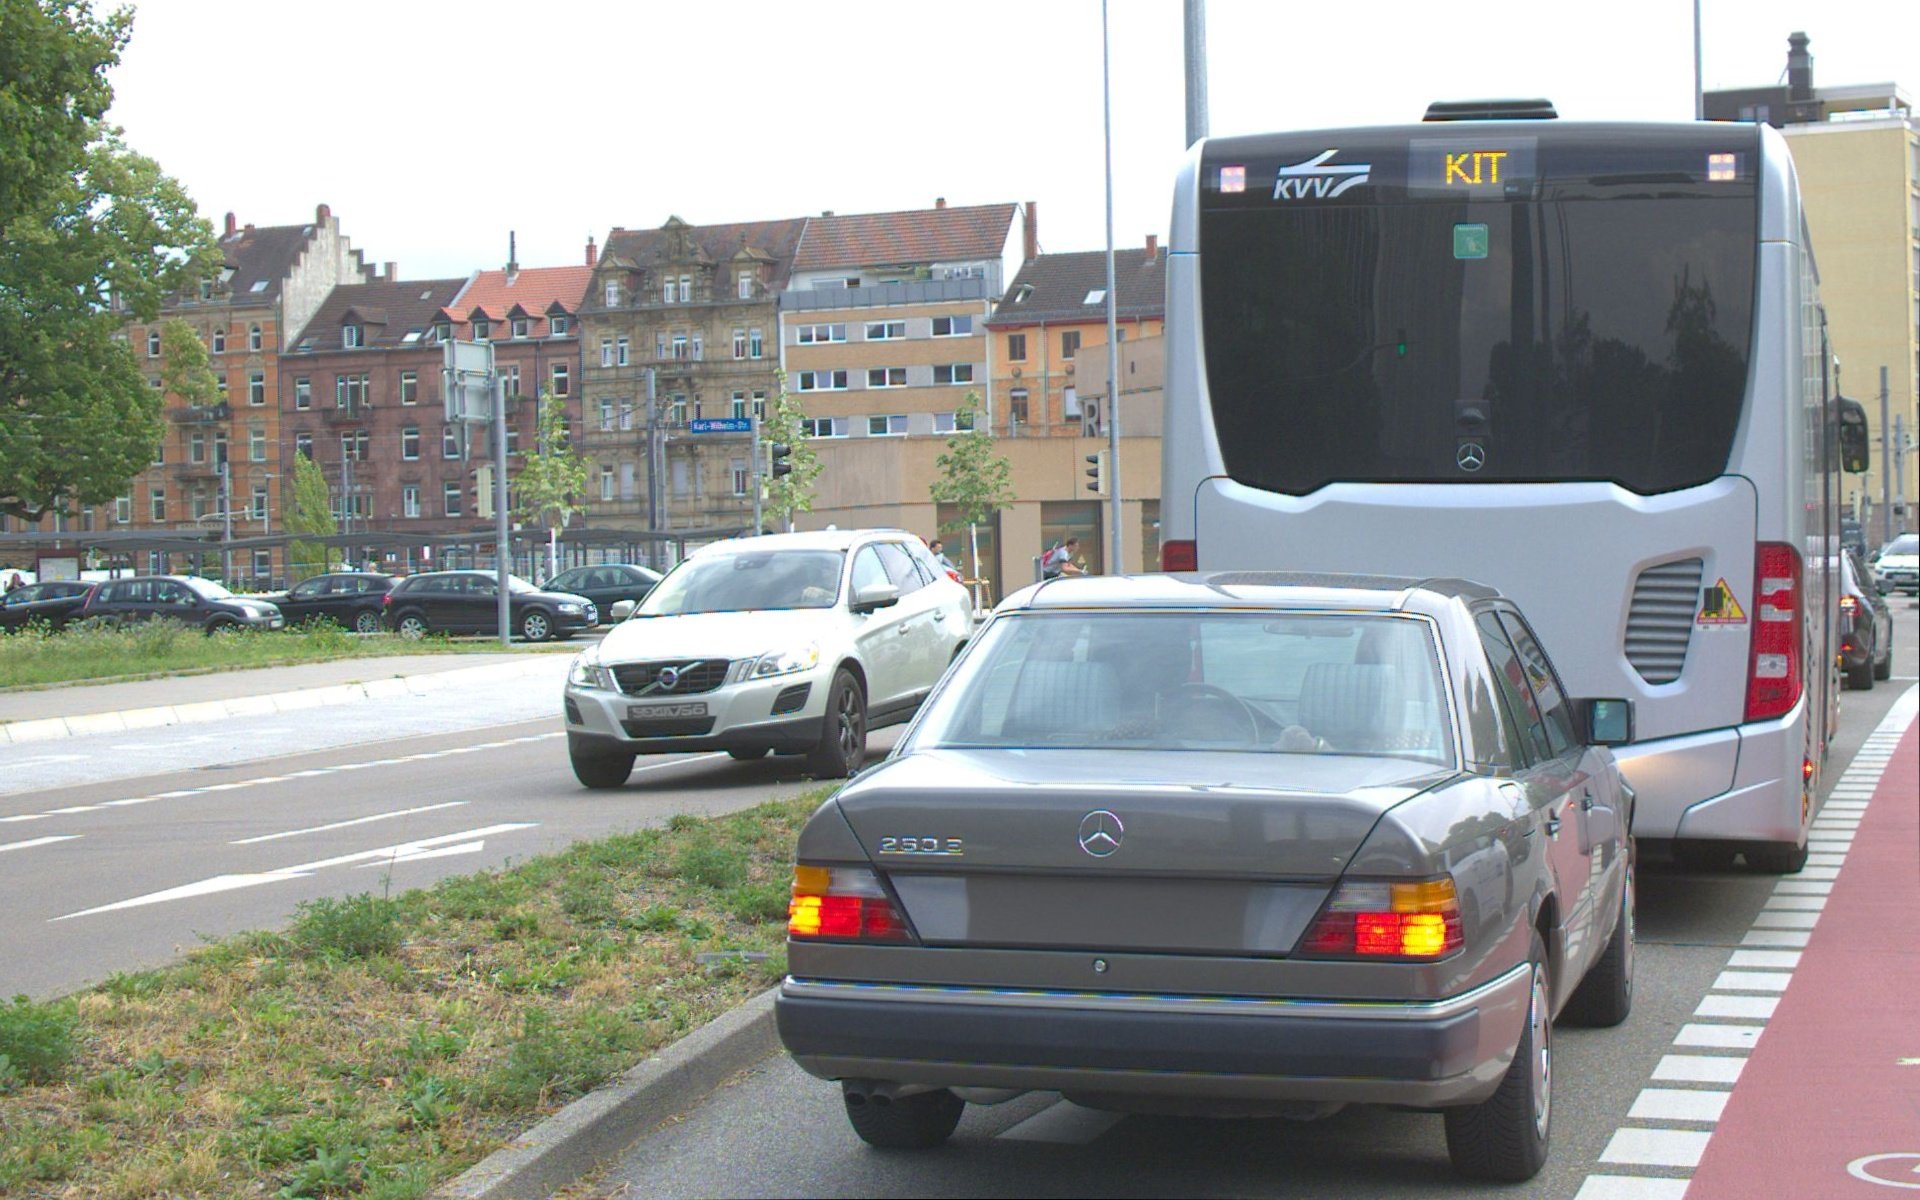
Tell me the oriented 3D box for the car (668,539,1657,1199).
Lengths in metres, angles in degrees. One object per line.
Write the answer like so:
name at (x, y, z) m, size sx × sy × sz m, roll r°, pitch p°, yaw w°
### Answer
car at (0.798, 0.606, 9.250) m, size 1.762 × 1.484 × 4.168 m, roll -1°, pitch 1°, yaw 16°

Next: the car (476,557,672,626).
car at (-8.069, -0.194, 71.944) m, size 3.765 × 1.389 × 1.584 m, roll 1°, pitch 1°, yaw 12°

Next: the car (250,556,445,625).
car at (-12.971, -0.217, 72.848) m, size 3.765 × 1.389 × 1.584 m, roll 1°, pitch 1°, yaw 12°

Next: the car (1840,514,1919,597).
car at (25.325, -1.220, 91.186) m, size 2.587 × 2.102 × 5.592 m, roll -1°, pitch 1°, yaw 27°

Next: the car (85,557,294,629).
car at (-15.432, -0.157, 68.911) m, size 3.765 × 1.389 × 1.584 m, roll 1°, pitch 1°, yaw 12°

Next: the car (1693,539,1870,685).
car at (8.483, 0.088, 35.473) m, size 1.656 × 1.392 × 3.858 m, roll -1°, pitch 1°, yaw 14°

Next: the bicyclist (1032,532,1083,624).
bicyclist at (1.768, -0.397, 62.281) m, size 0.787 × 1.638 × 0.613 m, roll -1°, pitch 1°, yaw 14°

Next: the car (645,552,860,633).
car at (-4.008, -0.155, 66.675) m, size 3.858 × 1.512 × 1.660 m, roll 0°, pitch 1°, yaw 12°

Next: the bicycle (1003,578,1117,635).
bicycle at (1.812, 0.118, 62.278) m, size 1.965 × 0.978 × 0.630 m, roll -1°, pitch 1°, yaw 14°

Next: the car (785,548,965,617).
car at (-1.759, -0.378, 71.279) m, size 3.672 × 1.389 × 1.585 m, roll 0°, pitch 1°, yaw -1°

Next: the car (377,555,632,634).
car at (-8.928, -0.122, 67.502) m, size 4.671 × 1.470 × 1.660 m, roll 1°, pitch 1°, yaw 12°

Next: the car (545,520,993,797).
car at (-1.214, 0.333, 24.000) m, size 1.782 × 1.724 × 4.370 m, roll -2°, pitch 1°, yaw 15°

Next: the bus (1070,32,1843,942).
bus at (2.874, -0.495, 17.094) m, size 2.833 × 3.379 × 8.177 m, roll -1°, pitch 1°, yaw 15°
